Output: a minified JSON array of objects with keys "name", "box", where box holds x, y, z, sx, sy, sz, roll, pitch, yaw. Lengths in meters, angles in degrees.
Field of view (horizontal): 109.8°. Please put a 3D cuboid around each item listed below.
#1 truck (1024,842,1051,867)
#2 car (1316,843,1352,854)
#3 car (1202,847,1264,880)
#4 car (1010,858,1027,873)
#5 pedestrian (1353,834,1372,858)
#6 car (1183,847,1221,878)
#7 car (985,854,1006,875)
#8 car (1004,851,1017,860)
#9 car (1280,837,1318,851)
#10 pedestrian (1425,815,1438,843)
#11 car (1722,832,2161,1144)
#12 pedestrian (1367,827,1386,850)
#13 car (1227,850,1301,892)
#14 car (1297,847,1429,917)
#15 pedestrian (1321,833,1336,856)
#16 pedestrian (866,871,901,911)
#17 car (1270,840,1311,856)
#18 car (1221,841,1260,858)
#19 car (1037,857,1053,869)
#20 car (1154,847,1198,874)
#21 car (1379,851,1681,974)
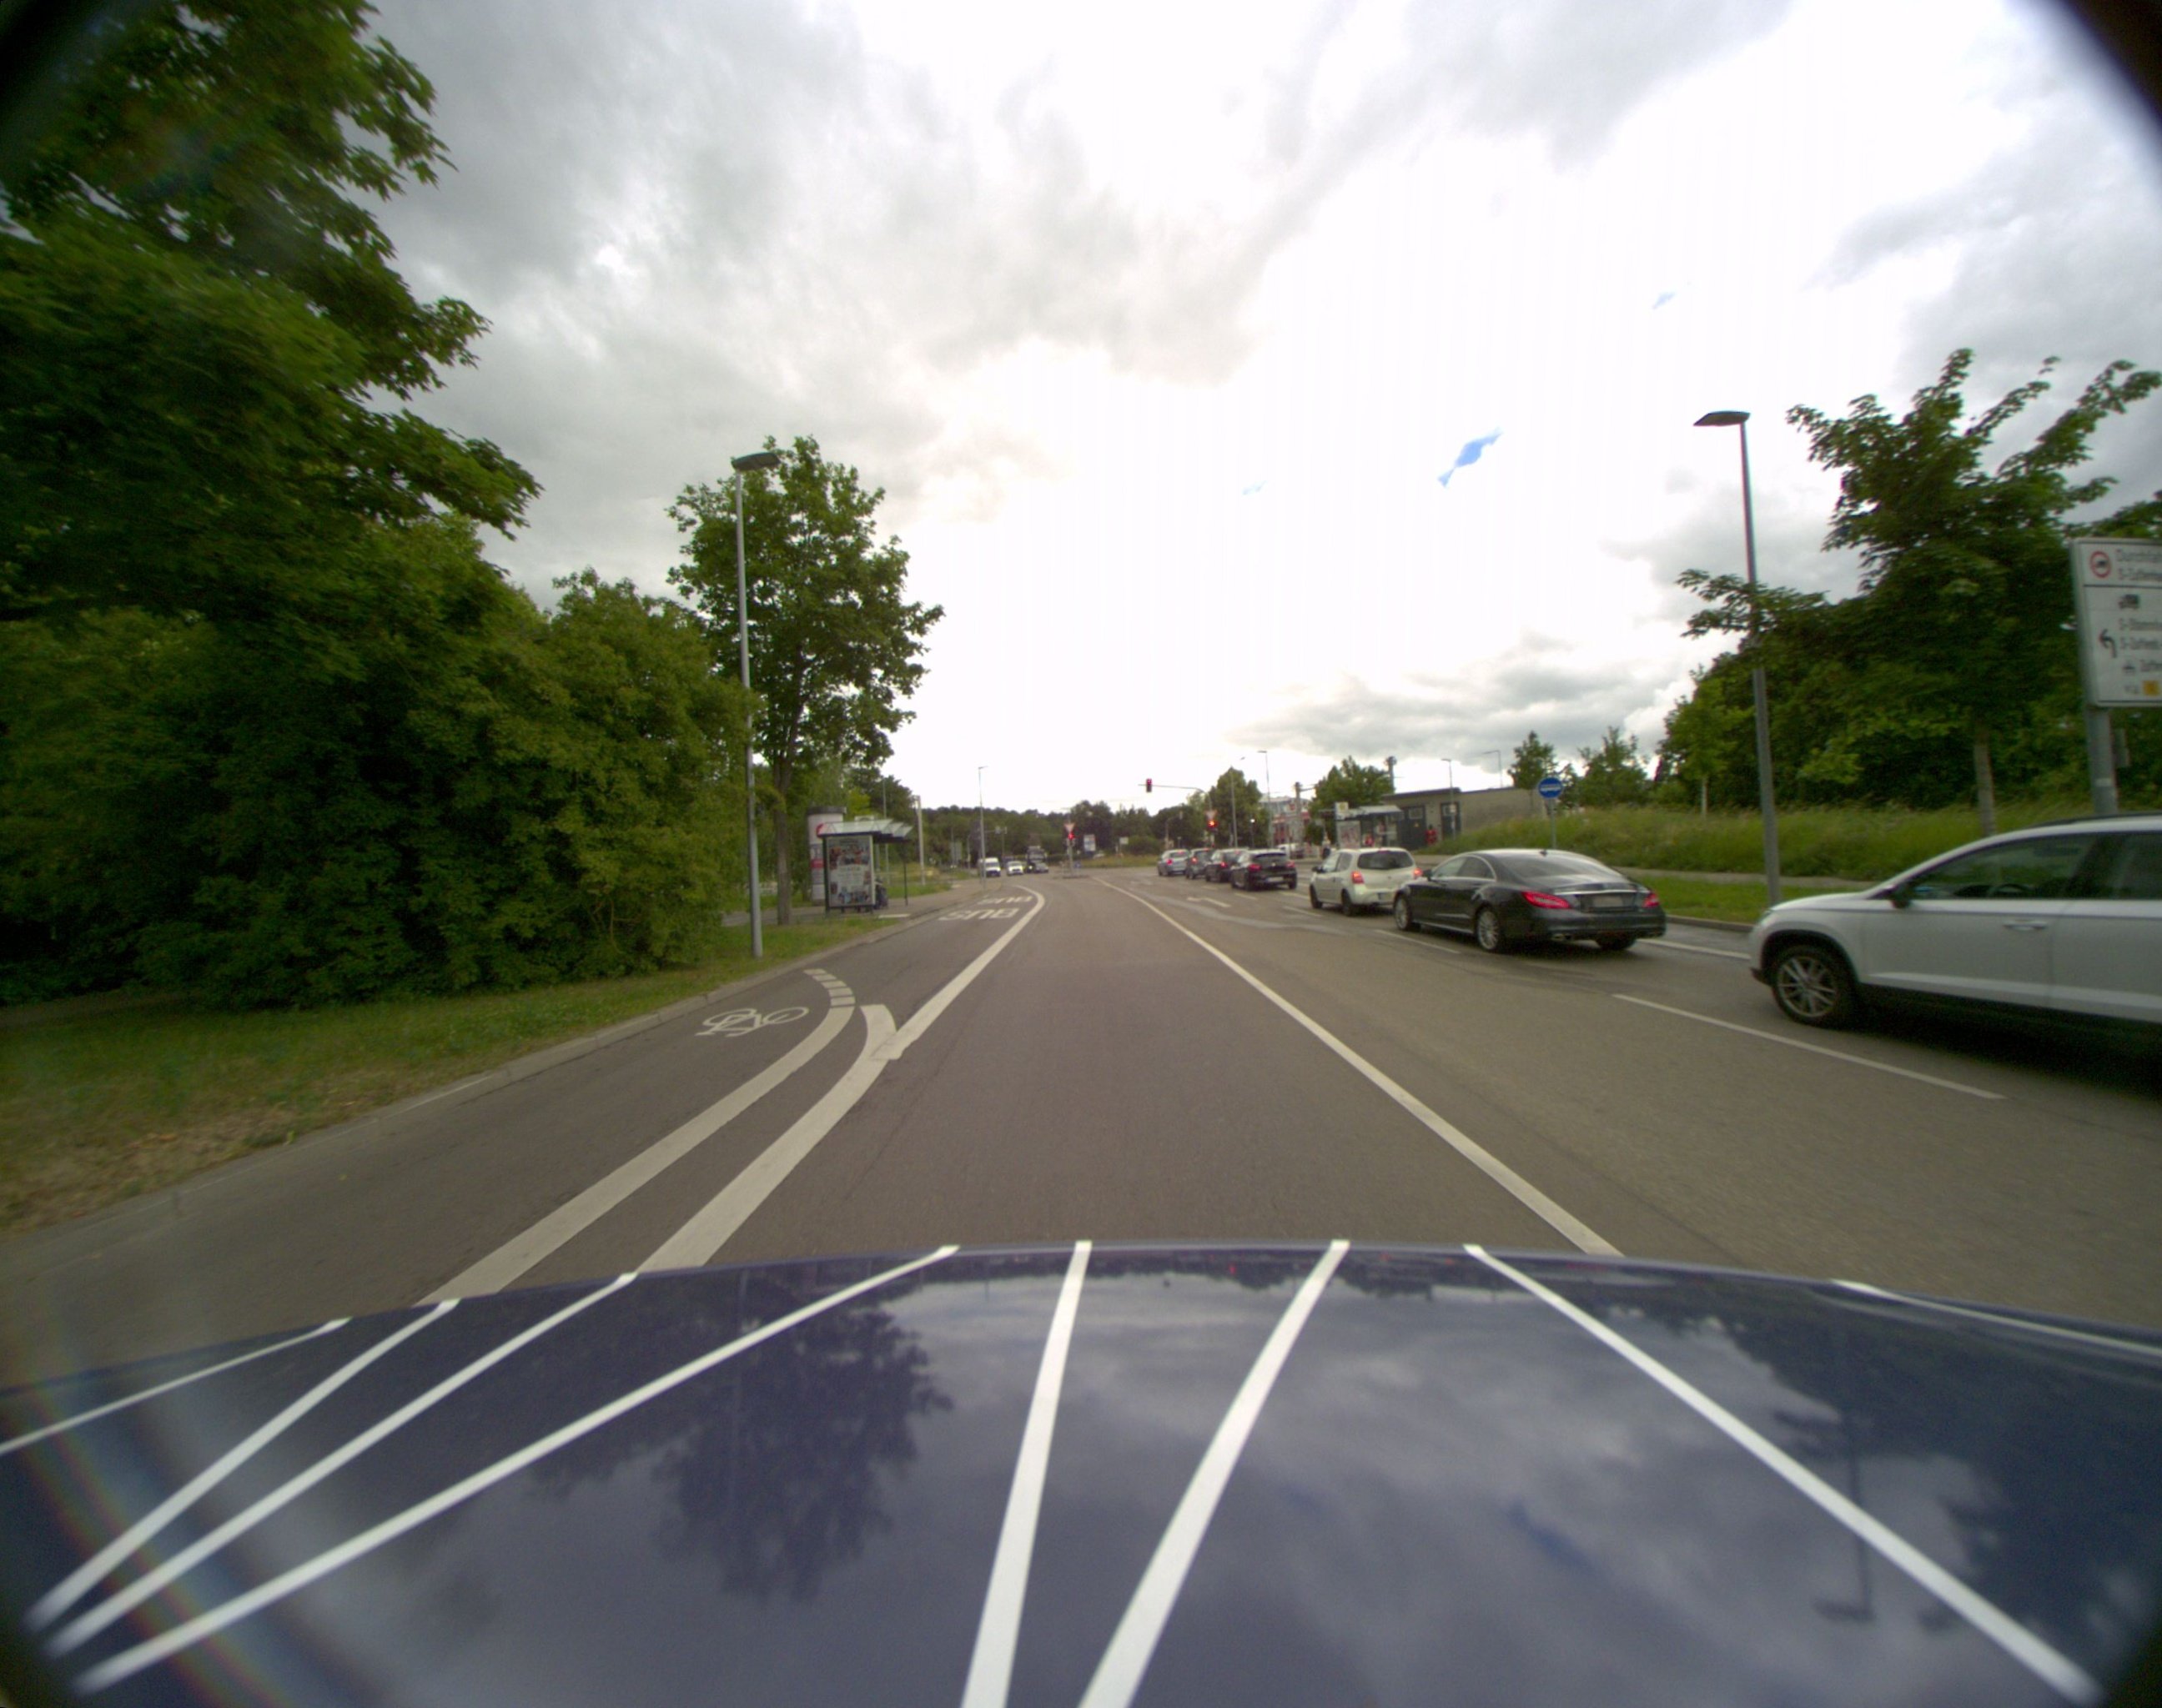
[{"name":"truck","box":[-6.476,0.136,112.864,3.075,3.497,5.956,-4,0,-11]},{"name":"car","box":[33.068,-0.728,99.354,4.222,1.332,1.814,0,-1,-7]},{"name":"car","box":[6.805,0.411,34.475,1.804,1.324,4.379,-3,0,-1]},{"name":"car","box":[-8.649,1.581,105.683,2.120,1.979,4.986,-5,0,-5]},{"name":"pedestrian","box":[16.120,-0.448,43.482,0.774,1.322,0.550,-3,0,-8]},{"name":"car","box":[6.355,0.460,40.109,1.432,1.518,2.774,-3,0,-2]},{"name":"car","box":[-11.814,1.498,105.103,2.228,2.643,5.956,-4,0,-11]},{"name":"car","box":[-16.414,0.371,176.675,2.308,2.002,4.813,-4,0,-14]},{"name":"car","box":[29.195,-1.310,101.847,4.456,1.894,2.182,0,-1,-15]},{"name":"pedestrian","box":[21.128,-1.499,45.809,0.549,1.660,0.430,-3,0,36]},{"name":"car","box":[6.460,0.680,4.481,1.735,1.576,4.223,-3,0,0]},{"name":"pedestrian","box":[16.398,-0.848,42.182,0.774,1.219,0.550,-3,0,-8]},{"name":"car","box":[6.575,0.584,27.683,1.643,1.324,4.060,-3,0,0]},{"name":"car","box":[6.434,0.596,17.784,1.643,1.382,3.762,-3,0,0]},{"name":"pedestrian","box":[15.380,-0.593,47.214,0.550,1.355,0.774,-3,0,-8]},{"name":"pedestrian","box":[-6.496,1.213,24.992,0.777,1.245,0.771,-4,0,-41]},{"name":"car","box":[27.106,-0.756,98.302,4.698,1.781,1.813,-2,0,-14]},{"name":"car","box":[19.926,-0.560,94.961,4.222,1.769,1.813,-3,0,-8]},{"name":"car","box":[-4.971,1.264,105.031,1.636,1.433,3.863,-3,0,-10]},{"name":"car","box":[5.775,0.383,46.604,1.832,1.527,4.218,-3,0,-4]},{"name":"car","box":[6.331,0.706,11.525,1.643,1.382,4.885,-3,0,0]}]
